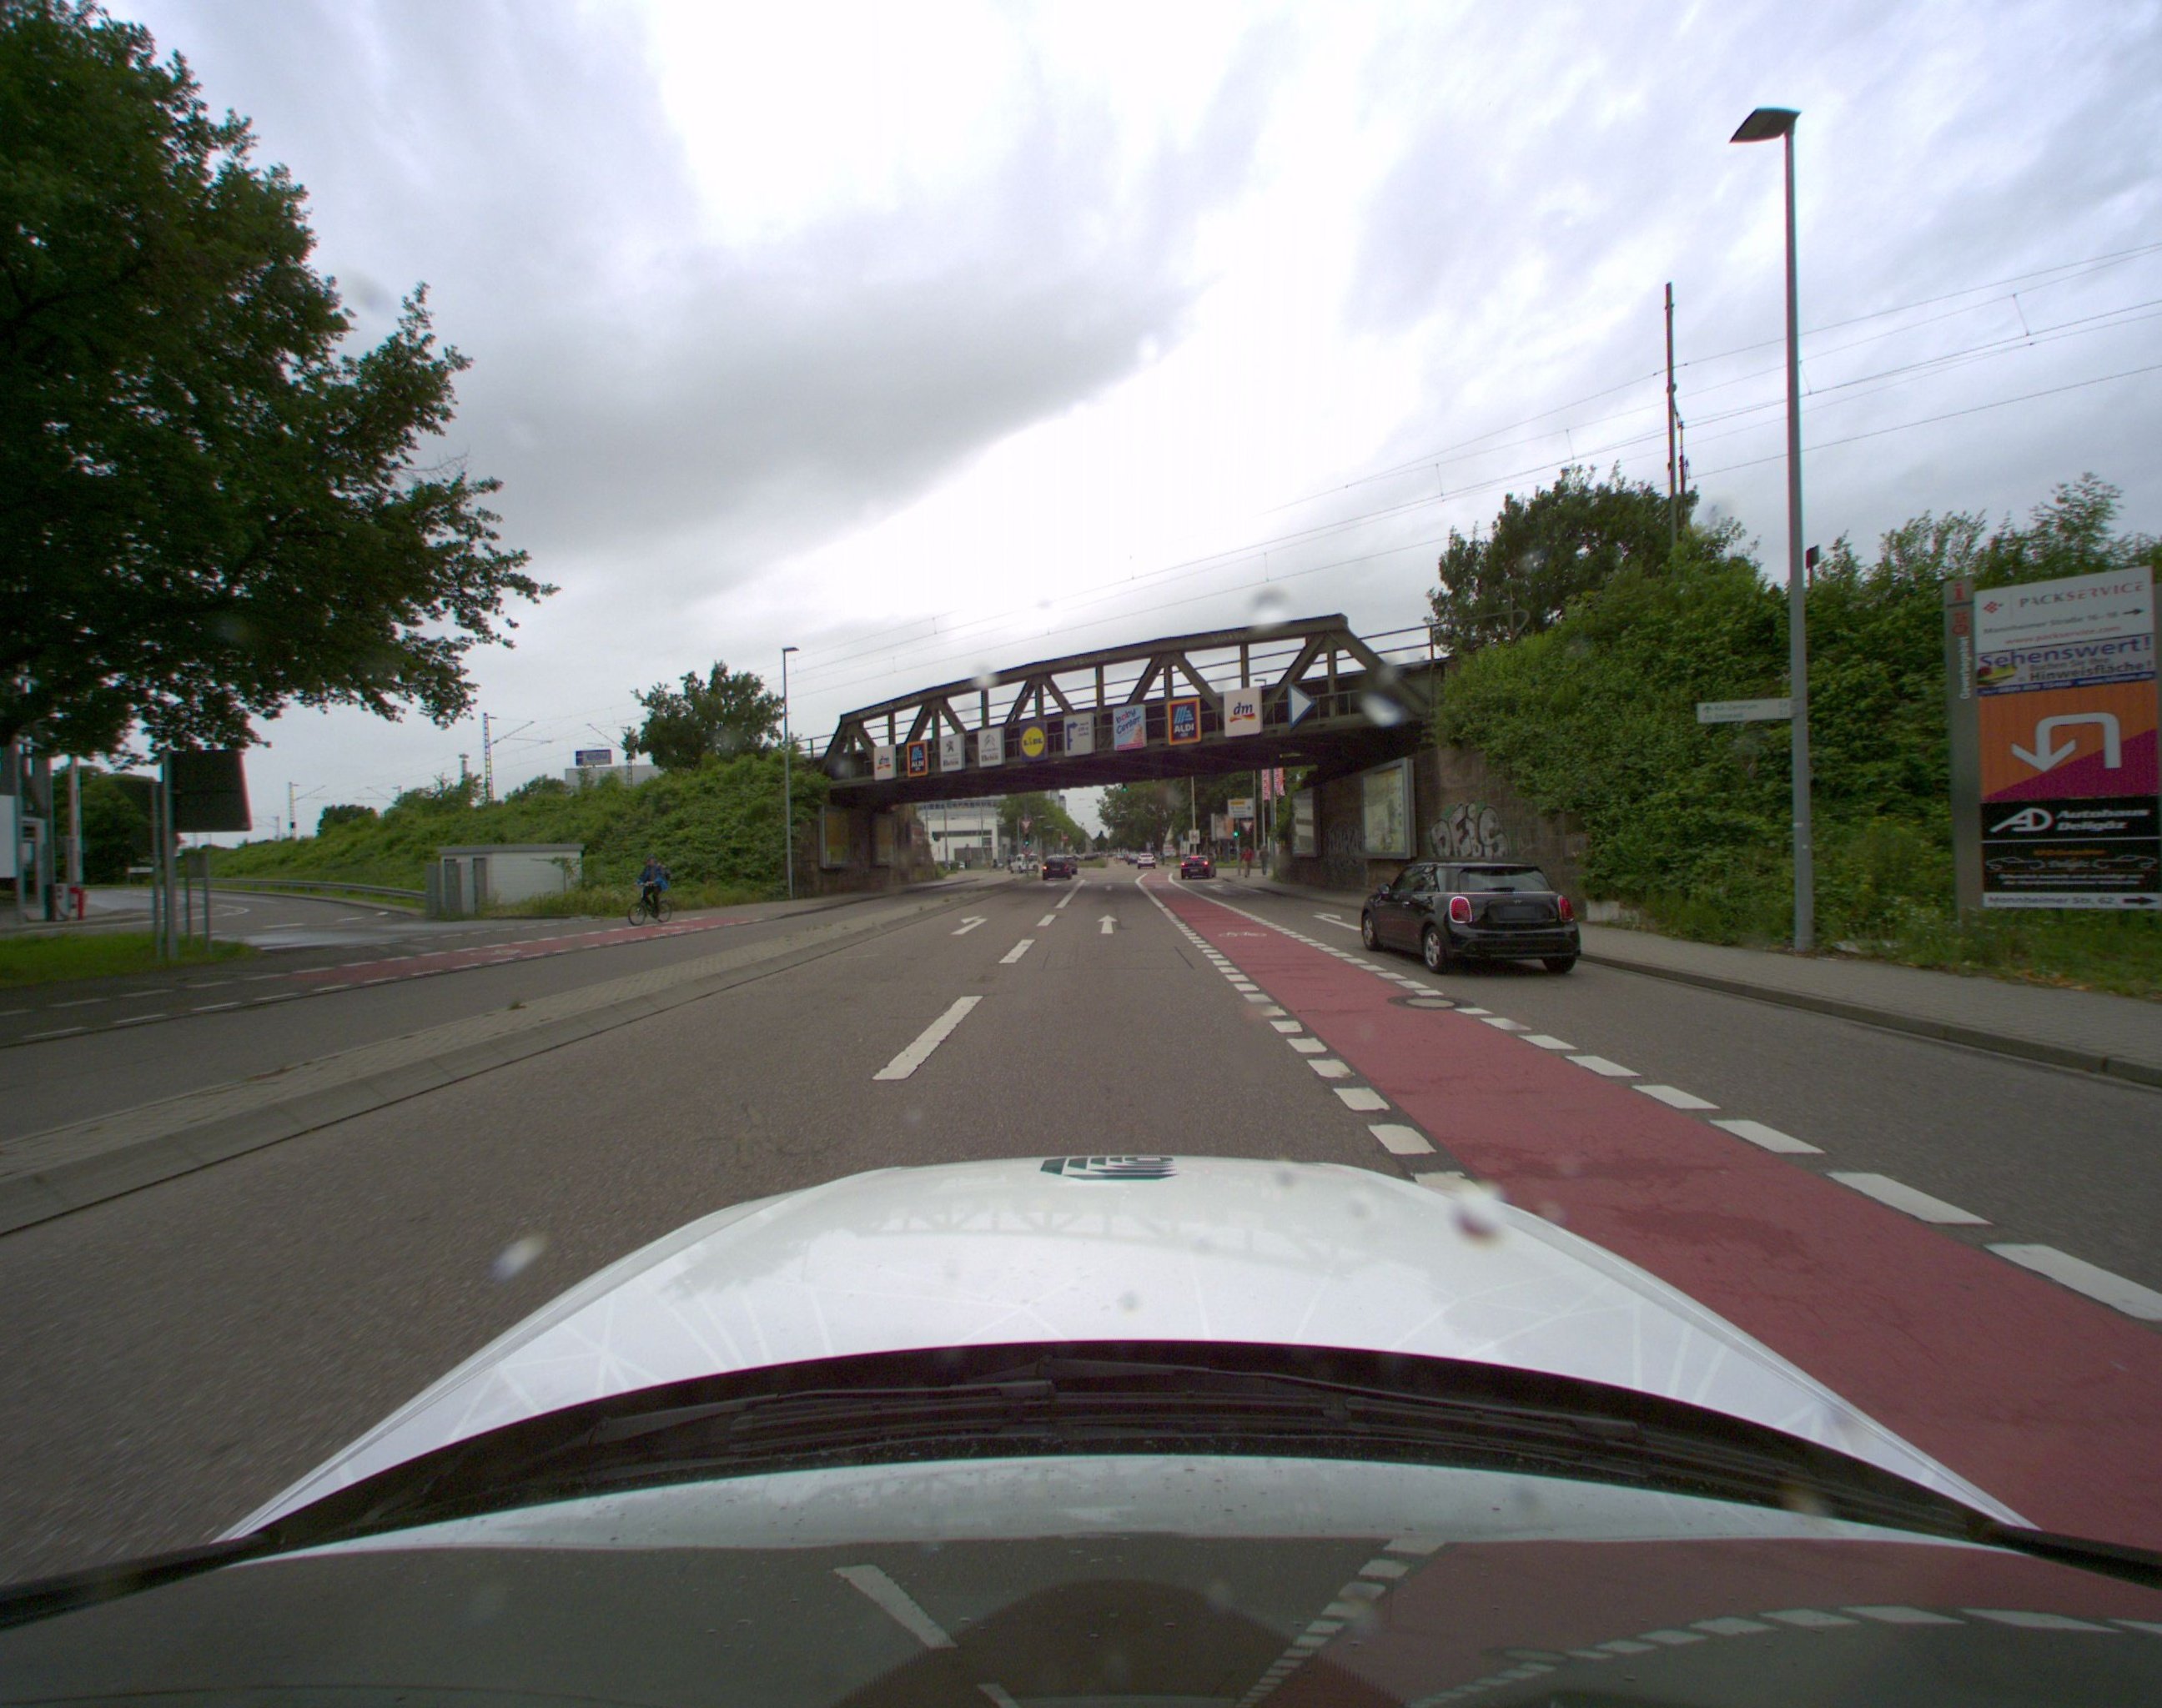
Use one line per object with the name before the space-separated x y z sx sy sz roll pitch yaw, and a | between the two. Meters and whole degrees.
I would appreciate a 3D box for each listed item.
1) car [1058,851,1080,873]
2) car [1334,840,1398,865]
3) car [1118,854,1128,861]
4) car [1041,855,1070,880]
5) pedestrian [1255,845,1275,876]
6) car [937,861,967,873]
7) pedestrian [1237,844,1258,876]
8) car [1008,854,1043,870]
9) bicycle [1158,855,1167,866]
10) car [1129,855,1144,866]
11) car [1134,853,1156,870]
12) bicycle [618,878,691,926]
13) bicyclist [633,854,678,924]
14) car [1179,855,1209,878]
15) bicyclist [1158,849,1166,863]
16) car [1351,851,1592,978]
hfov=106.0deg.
car | -0.978 0.640 66.328 1.768 1.652 3.667 -1 0 -1
car | 22.489 -0.088 64.285 4.364 1.829 1.892 -2 -2 34
car | 8.918 0.765 173.910 1.790 1.513 3.704 -1 0 -1
car | -1.611 0.841 52.315 1.764 1.527 3.667 -1 0 -1
pedestrian | 10.007 0.358 44.259 0.734 1.640 0.783 -2 0 42
car | -17.959 1.828 113.611 3.626 1.528 1.783 -2 0 20
pedestrian | 9.226 0.323 45.082 0.871 1.759 0.785 -2 0 -7
car | -5.442 0.744 78.982 1.970 1.527 4.973 -1 0 -22
bicycle | 9.421 0.735 94.566 0.813 1.212 2.684 -2 0 2
car | 7.357 0.854 108.752 1.679 1.513 3.704 -1 0 -1
car | 6.383 0.772 81.542 1.818 1.600 3.774 -1 0 -1
bicycle | -11.760 1.297 22.567 0.710 1.187 2.372 0 0 2
bicyclist | -11.755 0.943 22.521 0.699 1.874 1.020 0 -1 2
car | 6.779 0.743 49.081 1.639 1.281 3.424 -1 0 5
bicyclist | 9.396 0.216 94.565 0.813 1.630 1.235 -2 0 1
car | 5.182 0.702 11.400 1.673 1.431 3.776 -1 0 2
